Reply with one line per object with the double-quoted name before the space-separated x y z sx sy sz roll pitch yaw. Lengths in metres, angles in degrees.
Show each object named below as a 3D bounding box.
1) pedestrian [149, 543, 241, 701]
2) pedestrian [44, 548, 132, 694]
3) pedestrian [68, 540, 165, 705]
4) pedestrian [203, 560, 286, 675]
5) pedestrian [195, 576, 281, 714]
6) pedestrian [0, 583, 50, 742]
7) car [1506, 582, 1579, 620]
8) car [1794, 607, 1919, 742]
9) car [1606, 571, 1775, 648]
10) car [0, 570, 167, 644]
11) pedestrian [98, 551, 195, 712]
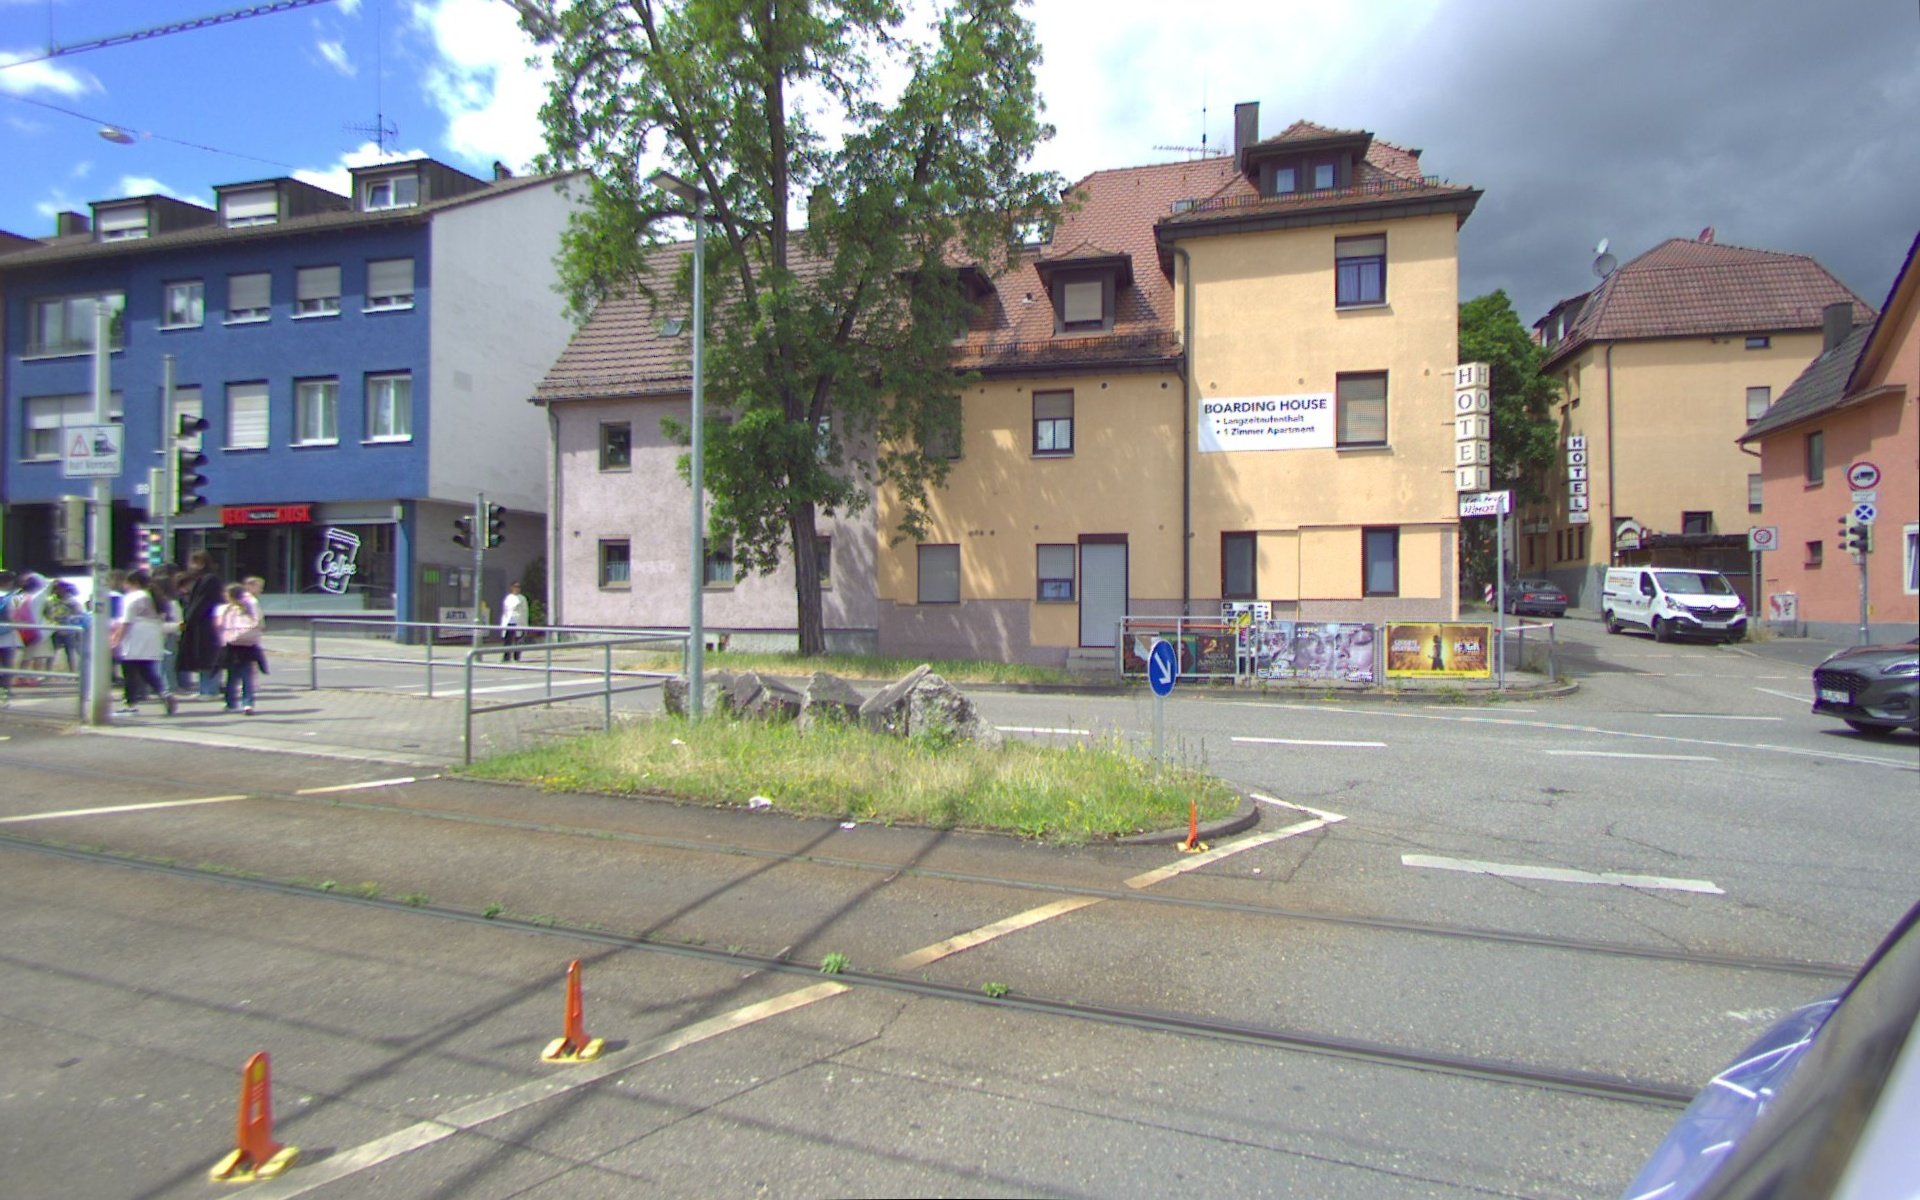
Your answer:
"pedestrian" -8.870 0.239 11.742 0.667 1.772 0.584 1 1 20
"pedestrian" -10.875 0.245 12.628 0.667 1.772 0.584 1 1 20
"pedestrian" -9.362 0.232 11.244 0.667 1.772 0.584 1 1 20
"pedestrian" -8.962 0.200 12.683 0.669 1.392 0.628 1 1 29
"pedestrian" -7.589 0.449 10.661 0.575 1.392 0.782 1 0 -25
"pedestrian" -11.004 0.696 11.537 0.737 1.772 0.588 1 0 -15
"car" 22.057 0.054 38.450 1.539 1.388 3.119 0 -1 13
"car" 12.281 0.779 10.824 4.783 1.388 1.911 0 -1 14
"car" 19.715 0.216 27.606 2.050 1.921 4.644 -1 1 13
"car" -20.172 0.134 22.720 3.943 1.551 1.704 1 -1 15
"pedestrian" -8.322 0.301 10.353 0.670 1.585 0.581 1 1 31
